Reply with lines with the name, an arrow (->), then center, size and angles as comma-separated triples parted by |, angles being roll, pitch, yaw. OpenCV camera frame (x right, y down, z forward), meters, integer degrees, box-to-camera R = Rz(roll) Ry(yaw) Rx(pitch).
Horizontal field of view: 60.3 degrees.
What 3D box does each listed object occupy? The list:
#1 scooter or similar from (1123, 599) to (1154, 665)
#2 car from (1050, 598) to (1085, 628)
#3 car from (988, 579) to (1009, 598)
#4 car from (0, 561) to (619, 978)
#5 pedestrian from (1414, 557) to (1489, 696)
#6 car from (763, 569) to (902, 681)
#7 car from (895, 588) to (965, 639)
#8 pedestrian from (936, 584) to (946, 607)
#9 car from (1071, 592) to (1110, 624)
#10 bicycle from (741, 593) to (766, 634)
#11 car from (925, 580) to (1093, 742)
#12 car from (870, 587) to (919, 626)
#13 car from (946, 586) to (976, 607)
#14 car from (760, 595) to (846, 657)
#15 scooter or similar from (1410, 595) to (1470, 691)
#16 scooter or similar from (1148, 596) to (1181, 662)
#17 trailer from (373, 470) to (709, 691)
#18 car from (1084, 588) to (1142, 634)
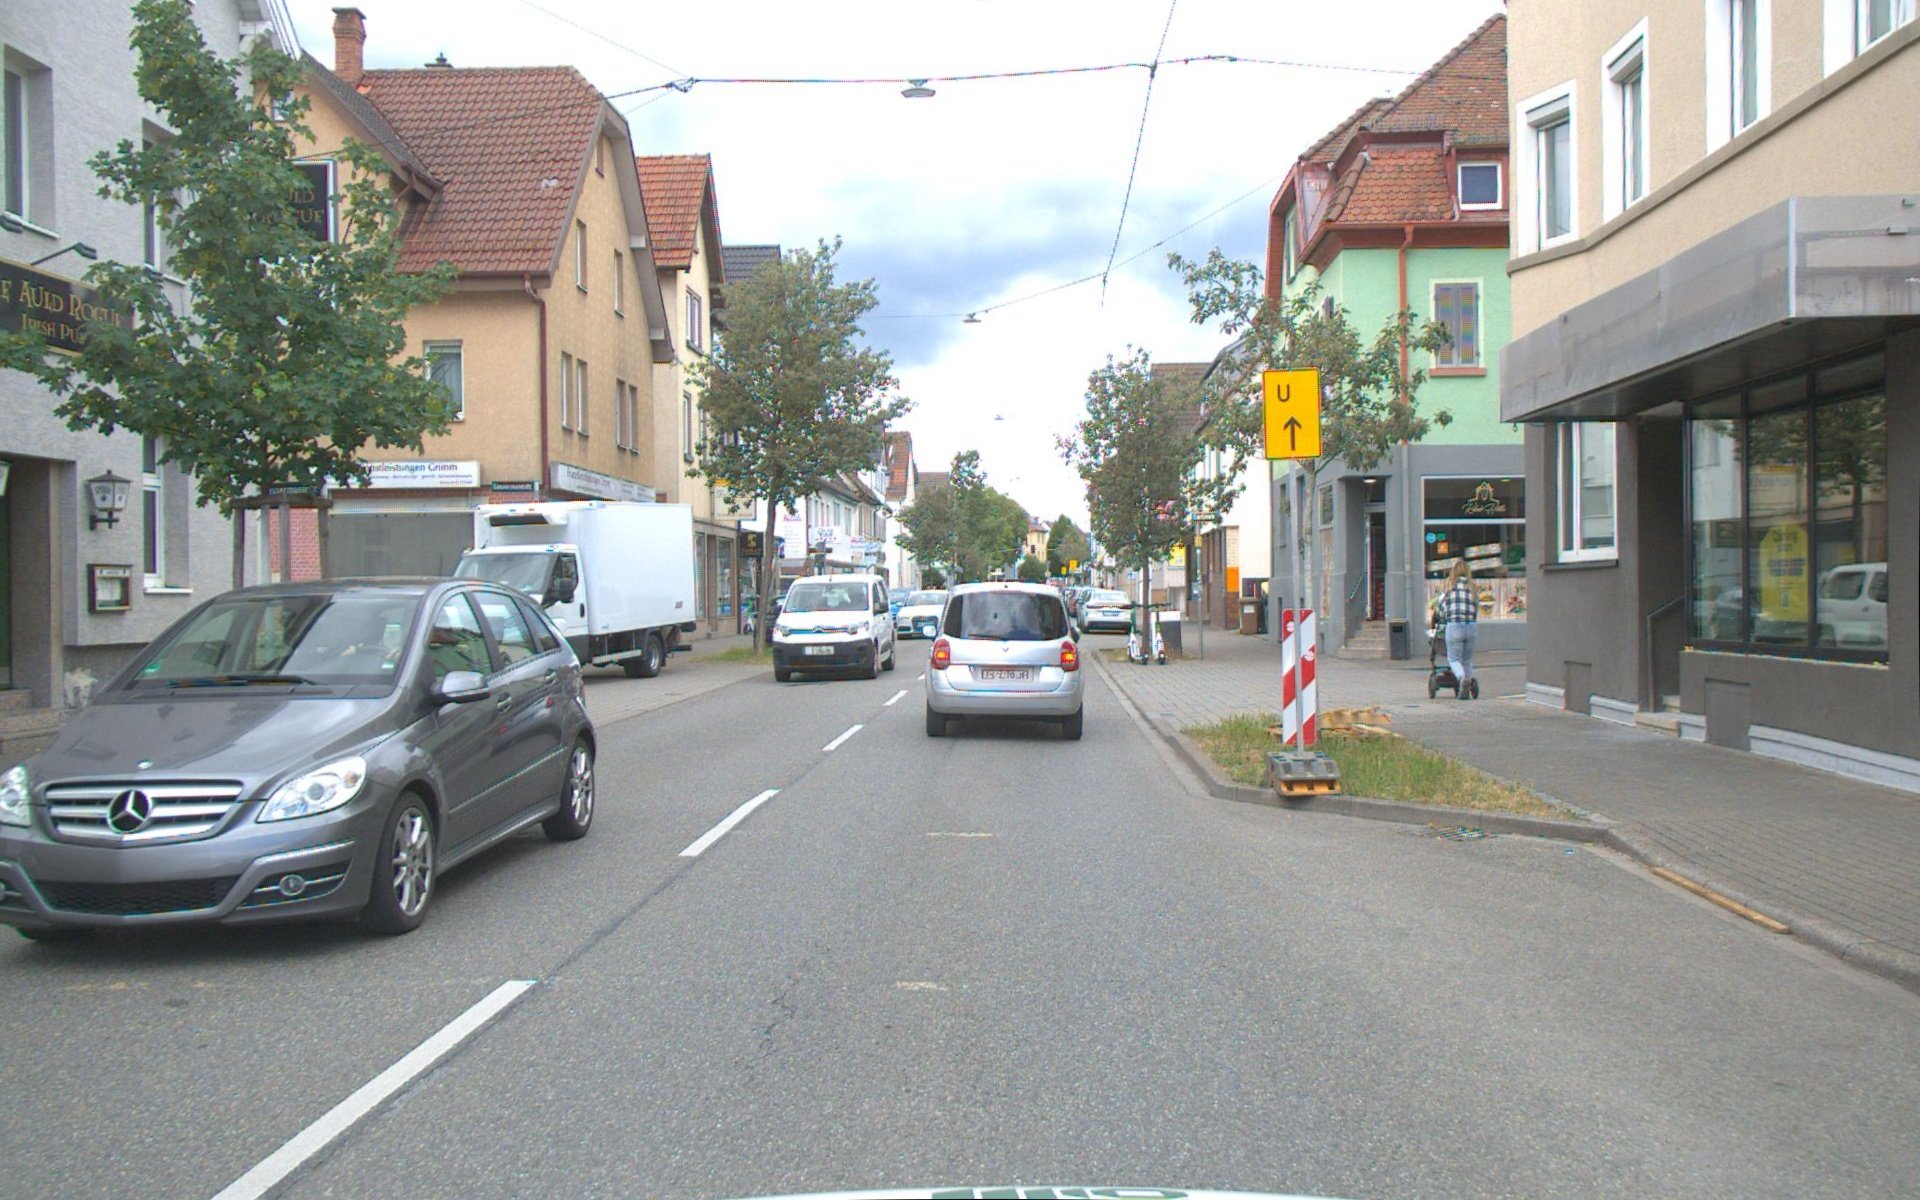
scooter or similar -> 3.537, 0.611, 32.882 | 0.491, 1.257, 1.943 | 0, 0, 2
car -> 5.553, 0.670, 85.671 | 1.718, 1.471, 4.457 | 1, 0, 4
car -> 3.860, -1.166, 165.487 | 1.861, 1.767, 4.368 | -2, 0, 4
car -> -3.167, 0.669, 8.593 | 1.743, 1.579, 4.076 | -3, 0, 2
pedestrian -> 6.318, 0.335, 21.297 | 0.734, 1.750, 0.900 | 0, 0, 3
car -> -2.205, 0.405, 29.760 | 1.952, 1.827, 4.279 | -2, 0, 3
car -> -0.882, 0.394, 51.467 | 1.804, 1.458, 4.545 | -2, 0, 3
pedestrian -> -1.539, -0.357, 133.279 | 0.747, 1.822, 0.890 | 0, 0, 3
car -> 6.377, 0.370, 81.180 | 1.793, 1.524, 3.995 | 1, 0, 3
bicycle -> -6.510, 0.407, 52.181 | 0.491, 1.257, 1.943 | 0, 0, 2
car -> 0.607, 0.589, 18.395 | 1.647, 1.593, 3.995 | 1, 0, 4
car -> -2.718, 0.249, 69.510 | 1.647, 1.525, 3.777 | -2, 0, 4
car -> 0.100, -0.299, 126.500 | 1.908, 1.493, 4.518 | -3, 0, 3
car -> -4.029, 0.640, 42.942 | 1.647, 1.449, 3.932 | -2, 0, 2
scooter or similar -> 6.443, 0.569, 22.216 | 0.577, 1.254, 0.892 | 0, 0, 2
scooter or similar -> 4.061, 0.562, 32.871 | 0.491, 1.257, 1.943 | 0, 0, 2
trailer -> -6.837, -0.314, 28.259 | 2.450, 3.275, 7.141 | 0, 0, 14
car -> 5.121, 0.336, 55.807 | 1.793, 1.471, 4.334 | 1, 0, 4
